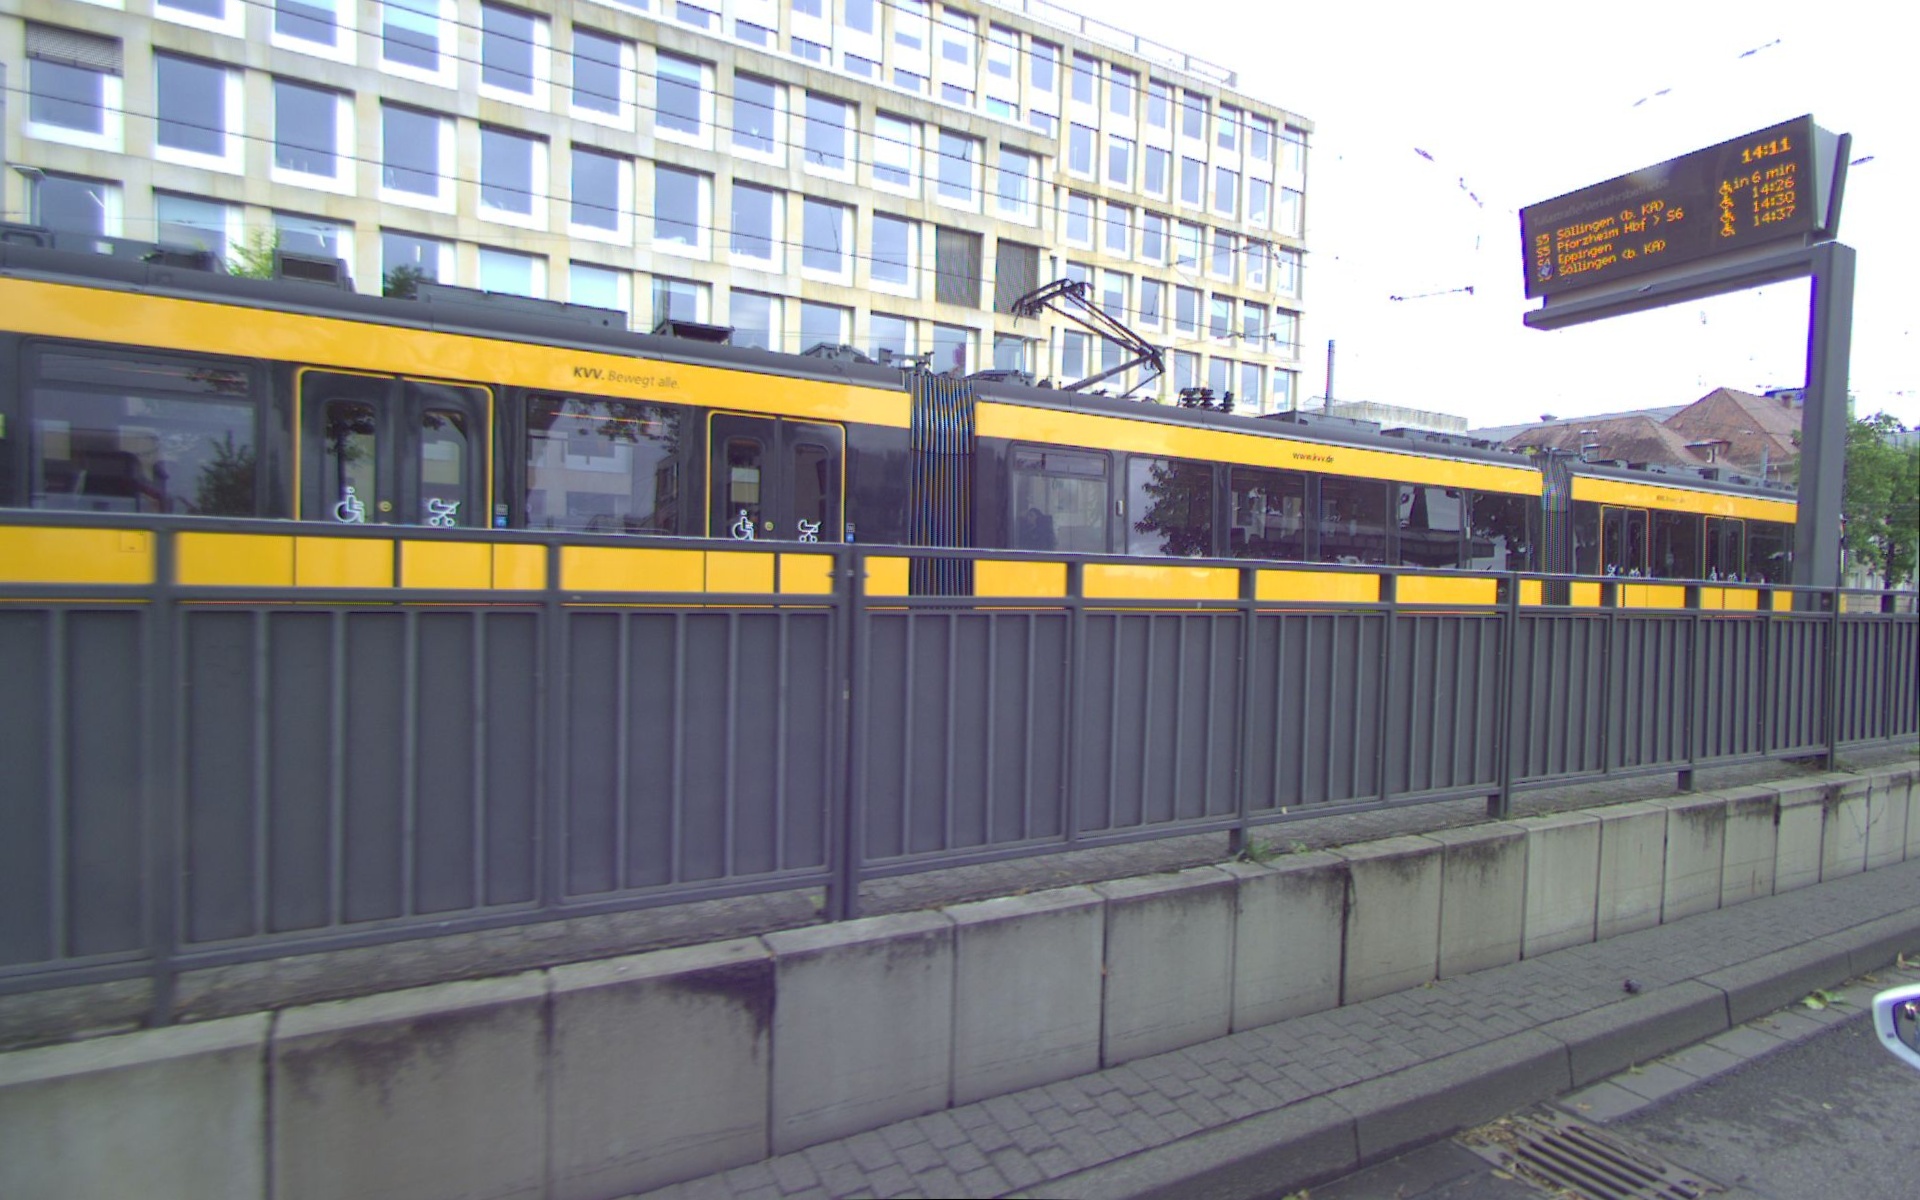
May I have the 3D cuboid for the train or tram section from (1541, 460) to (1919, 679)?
[{"bbox_3d":[20.010,-0.462,24.310,14.554,4.235,3.166,2,1,-29],"label":"train or tram section"}]

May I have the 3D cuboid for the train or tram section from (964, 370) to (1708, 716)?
[{"bbox_3d":[7.224,-0.572,17.245,14.554,4.235,3.166,2,1,-29],"label":"train or tram section"}]

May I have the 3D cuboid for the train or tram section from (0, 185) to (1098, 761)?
[{"bbox_3d":[-5.494,-0.911,10.111,14.554,4.235,3.166,2,1,-29],"label":"train or tram section"}]
